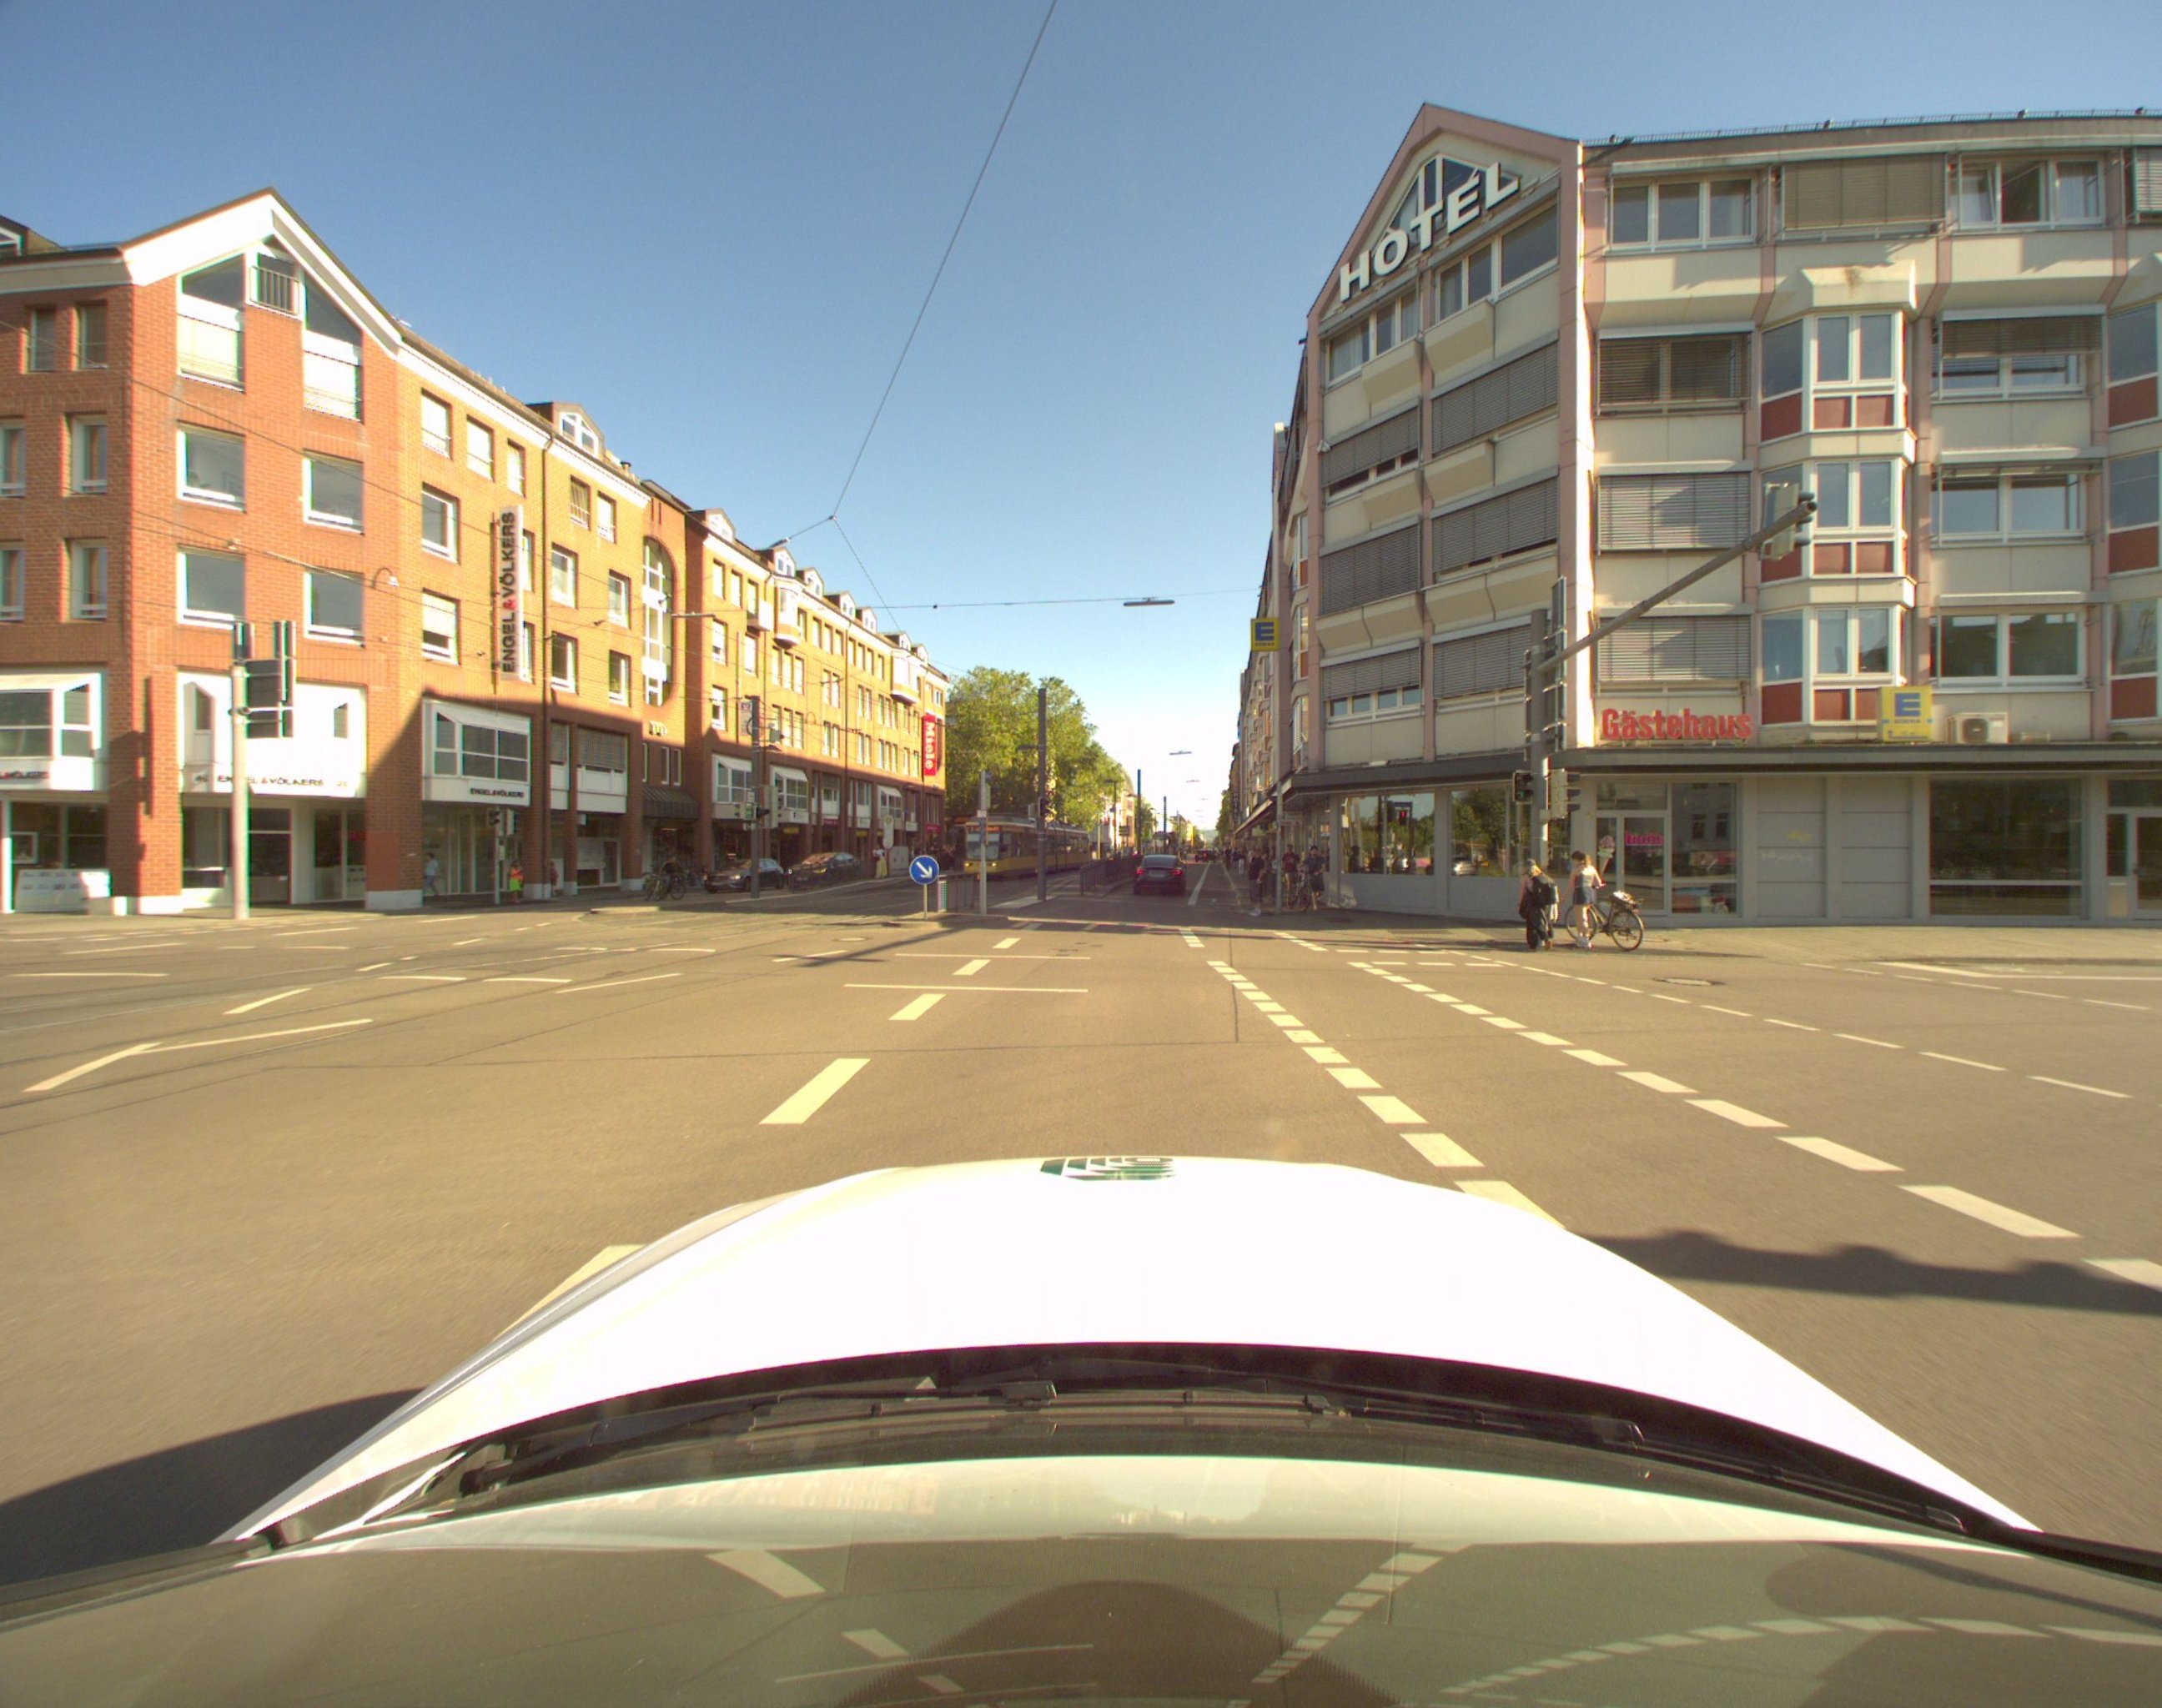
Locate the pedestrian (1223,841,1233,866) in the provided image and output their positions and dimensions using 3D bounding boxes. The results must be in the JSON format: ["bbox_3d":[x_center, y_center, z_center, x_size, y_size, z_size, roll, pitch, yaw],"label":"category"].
[{"bbox_3d":[11.316,-0.032,62.781,0.692,1.896,0.752,1,0,10],"label":"pedestrian"}]

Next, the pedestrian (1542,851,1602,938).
[{"bbox_3d":[9.022,0.721,14.991,0.525,1.554,0.866,1,0,-6],"label":"pedestrian"}]

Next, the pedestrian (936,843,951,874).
[{"bbox_3d":[-7.704,0.250,45.687,0.630,1.721,0.588,1,0,18],"label":"pedestrian"}]

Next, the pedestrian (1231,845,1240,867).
[{"bbox_3d":[13.414,0.182,70.718,0.692,1.896,0.752,1,0,10],"label":"pedestrian"}]

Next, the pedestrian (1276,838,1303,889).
[{"bbox_3d":[7.044,0.306,27.564,0.685,1.688,0.670,1,0,-5],"label":"pedestrian"}]

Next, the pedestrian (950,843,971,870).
[{"bbox_3d":[-7.270,0.154,49.041,1.101,1.624,0.848,1,0,1],"label":"pedestrian"}]

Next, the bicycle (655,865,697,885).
[{"bbox_3d":[-18.312,0.943,36.851,1.701,0.900,0.522,1,0,7],"label":"bicycle"}]

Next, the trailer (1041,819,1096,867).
[{"bbox_3d":[-0.823,-0.843,64.513,2.697,3.546,9.383,1,0,9],"label":"trailer"}]

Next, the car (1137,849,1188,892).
[{"bbox_3d":[3.028,0.575,30.637,1.782,1.450,3.945,2,1,4],"label":"car"}]

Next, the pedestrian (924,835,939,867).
[{"bbox_3d":[-7.978,-0.151,43.428,0.633,1.721,0.586,1,0,3],"label":"pedestrian"}]

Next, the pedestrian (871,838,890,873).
[{"bbox_3d":[-9.088,0.060,36.938,0.631,1.564,0.587,1,0,13],"label":"pedestrian"}]

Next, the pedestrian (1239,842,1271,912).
[{"bbox_3d":[4.576,0.592,21.441,0.624,1.782,0.917,1,0,0],"label":"pedestrian"}]

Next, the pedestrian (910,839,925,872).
[{"bbox_3d":[-7.767,0.067,38.676,0.582,1.531,0.637,1,0,-3],"label":"pedestrian"}]

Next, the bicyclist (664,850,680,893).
[{"bbox_3d":[-14.318,0.598,28.522,0.484,1.470,0.713,1,0,-27],"label":"bicyclist"}]

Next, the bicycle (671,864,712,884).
[{"bbox_3d":[-18.189,0.945,38.043,1.701,0.900,0.522,1,0,7],"label":"bicycle"}]

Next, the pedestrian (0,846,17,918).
[{"bbox_3d":[-26.488,0.680,19.642,0.685,1.727,0.712,1,0,2],"label":"pedestrian"}]

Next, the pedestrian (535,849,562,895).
[{"bbox_3d":[-19.635,0.671,30.043,0.618,1.671,0.552,1,0,5],"label":"pedestrian"}]

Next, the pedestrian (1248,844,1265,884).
[{"bbox_3d":[7.415,0.427,34.421,0.692,1.677,0.752,1,0,10],"label":"pedestrian"}]

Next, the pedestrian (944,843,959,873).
[{"bbox_3d":[-7.402,0.236,46.481,0.630,1.721,0.612,1,0,18],"label":"pedestrian"}]

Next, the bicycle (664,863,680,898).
[{"bbox_3d":[-14.281,0.902,28.433,0.493,1.158,1.667,1,0,-27],"label":"bicycle"}]

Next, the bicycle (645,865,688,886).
[{"bbox_3d":[-18.405,0.948,36.191,1.701,0.900,0.522,1,0,7],"label":"bicycle"}]

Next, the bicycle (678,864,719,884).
[{"bbox_3d":[-18.123,0.955,38.611,1.701,0.900,0.522,1,0,7],"label":"bicycle"}]

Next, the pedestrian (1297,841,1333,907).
[{"bbox_3d":[6.359,0.521,22.147,0.908,1.754,0.843,1,0,15],"label":"pedestrian"}]

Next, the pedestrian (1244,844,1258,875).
[{"bbox_3d":[9.444,0.301,45.203,0.692,1.677,0.752,1,0,10],"label":"pedestrian"}]

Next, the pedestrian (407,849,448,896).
[{"bbox_3d":[-22.543,0.616,28.101,0.875,1.568,0.869,1,0,35],"label":"pedestrian"}]

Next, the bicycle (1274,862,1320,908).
[{"bbox_3d":[5.895,0.831,22.327,0.488,1.161,1.968,1,0,-8],"label":"bicycle"}]

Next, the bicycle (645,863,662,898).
[{"bbox_3d":[-14.759,0.898,28.153,0.493,1.158,1.701,1,0,-27],"label":"bicycle"}]

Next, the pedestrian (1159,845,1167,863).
[{"bbox_3d":[8.100,-0.002,80.133,0.753,1.769,0.700,1,0,8],"label":"pedestrian"}]

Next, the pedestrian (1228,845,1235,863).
[{"bbox_3d":[16.310,-0.024,88.426,0.692,1.896,0.752,1,0,10],"label":"pedestrian"}]

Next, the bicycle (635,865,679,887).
[{"bbox_3d":[-18.487,0.956,35.498,1.701,0.900,0.522,1,0,7],"label":"bicycle"}]

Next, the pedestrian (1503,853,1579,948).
[{"bbox_3d":[7.969,0.790,14.146,0.777,1.576,0.867,1,2,-3],"label":"pedestrian"}]

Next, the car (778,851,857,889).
[{"bbox_3d":[-11.516,0.656,35.875,1.807,1.544,3.800,-1,0,7],"label":"car"}]

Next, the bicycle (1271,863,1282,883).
[{"bbox_3d":[8.833,0.853,36.745,0.412,0.856,1.241,1,0,11],"label":"bicycle"}]

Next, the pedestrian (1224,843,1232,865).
[{"bbox_3d":[13.003,0.023,71.940,0.692,1.896,0.752,1,0,10],"label":"pedestrian"}]

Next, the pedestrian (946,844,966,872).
[{"bbox_3d":[-7.367,0.205,48.033,0.995,1.624,0.848,1,0,1],"label":"pedestrian"}]

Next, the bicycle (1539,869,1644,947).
[{"bbox_3d":[9.275,0.946,14.892,0.543,1.284,1.903,1,0,-7],"label":"bicycle"}]

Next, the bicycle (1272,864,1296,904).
[{"bbox_3d":[6.114,0.868,24.471,0.484,1.102,2.135,1,0,20],"label":"bicycle"}]

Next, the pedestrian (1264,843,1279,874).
[{"bbox_3d":[10.637,0.257,45.469,0.743,1.677,0.701,1,0,10],"label":"pedestrian"}]

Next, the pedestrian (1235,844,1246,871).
[{"bbox_3d":[10.061,0.202,51.395,0.692,1.677,0.752,1,0,10],"label":"pedestrian"}]

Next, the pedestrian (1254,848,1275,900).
[{"bbox_3d":[5.538,0.596,24.602,0.470,1.562,0.544,1,0,-4],"label":"pedestrian"}]

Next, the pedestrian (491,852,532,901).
[{"bbox_3d":[-19.333,0.739,27.661,0.708,1.594,0.779,3,0,9],"label":"pedestrian"}]

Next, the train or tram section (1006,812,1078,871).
[{"bbox_3d":[-2.423,-0.782,54.855,2.697,3.546,10.195,1,0,9],"label":"train or tram section"}]

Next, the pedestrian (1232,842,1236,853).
[{"bbox_3d":[26.511,-1.201,141.143,0.692,1.878,0.752,1,0,10],"label":"pedestrian"}]

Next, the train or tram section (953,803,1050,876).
[{"bbox_3d":[-4.101,-0.745,44.840,2.712,3.542,10.114,1,0,10],"label":"train or tram section"}]

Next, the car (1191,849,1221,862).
[{"bbox_3d":[16.207,0.146,105.554,3.726,1.664,1.723,0,0,-38],"label":"car"}]

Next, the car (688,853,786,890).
[{"bbox_3d":[-14.608,0.695,34.844,1.804,1.454,3.992,-1,0,13],"label":"car"}]
